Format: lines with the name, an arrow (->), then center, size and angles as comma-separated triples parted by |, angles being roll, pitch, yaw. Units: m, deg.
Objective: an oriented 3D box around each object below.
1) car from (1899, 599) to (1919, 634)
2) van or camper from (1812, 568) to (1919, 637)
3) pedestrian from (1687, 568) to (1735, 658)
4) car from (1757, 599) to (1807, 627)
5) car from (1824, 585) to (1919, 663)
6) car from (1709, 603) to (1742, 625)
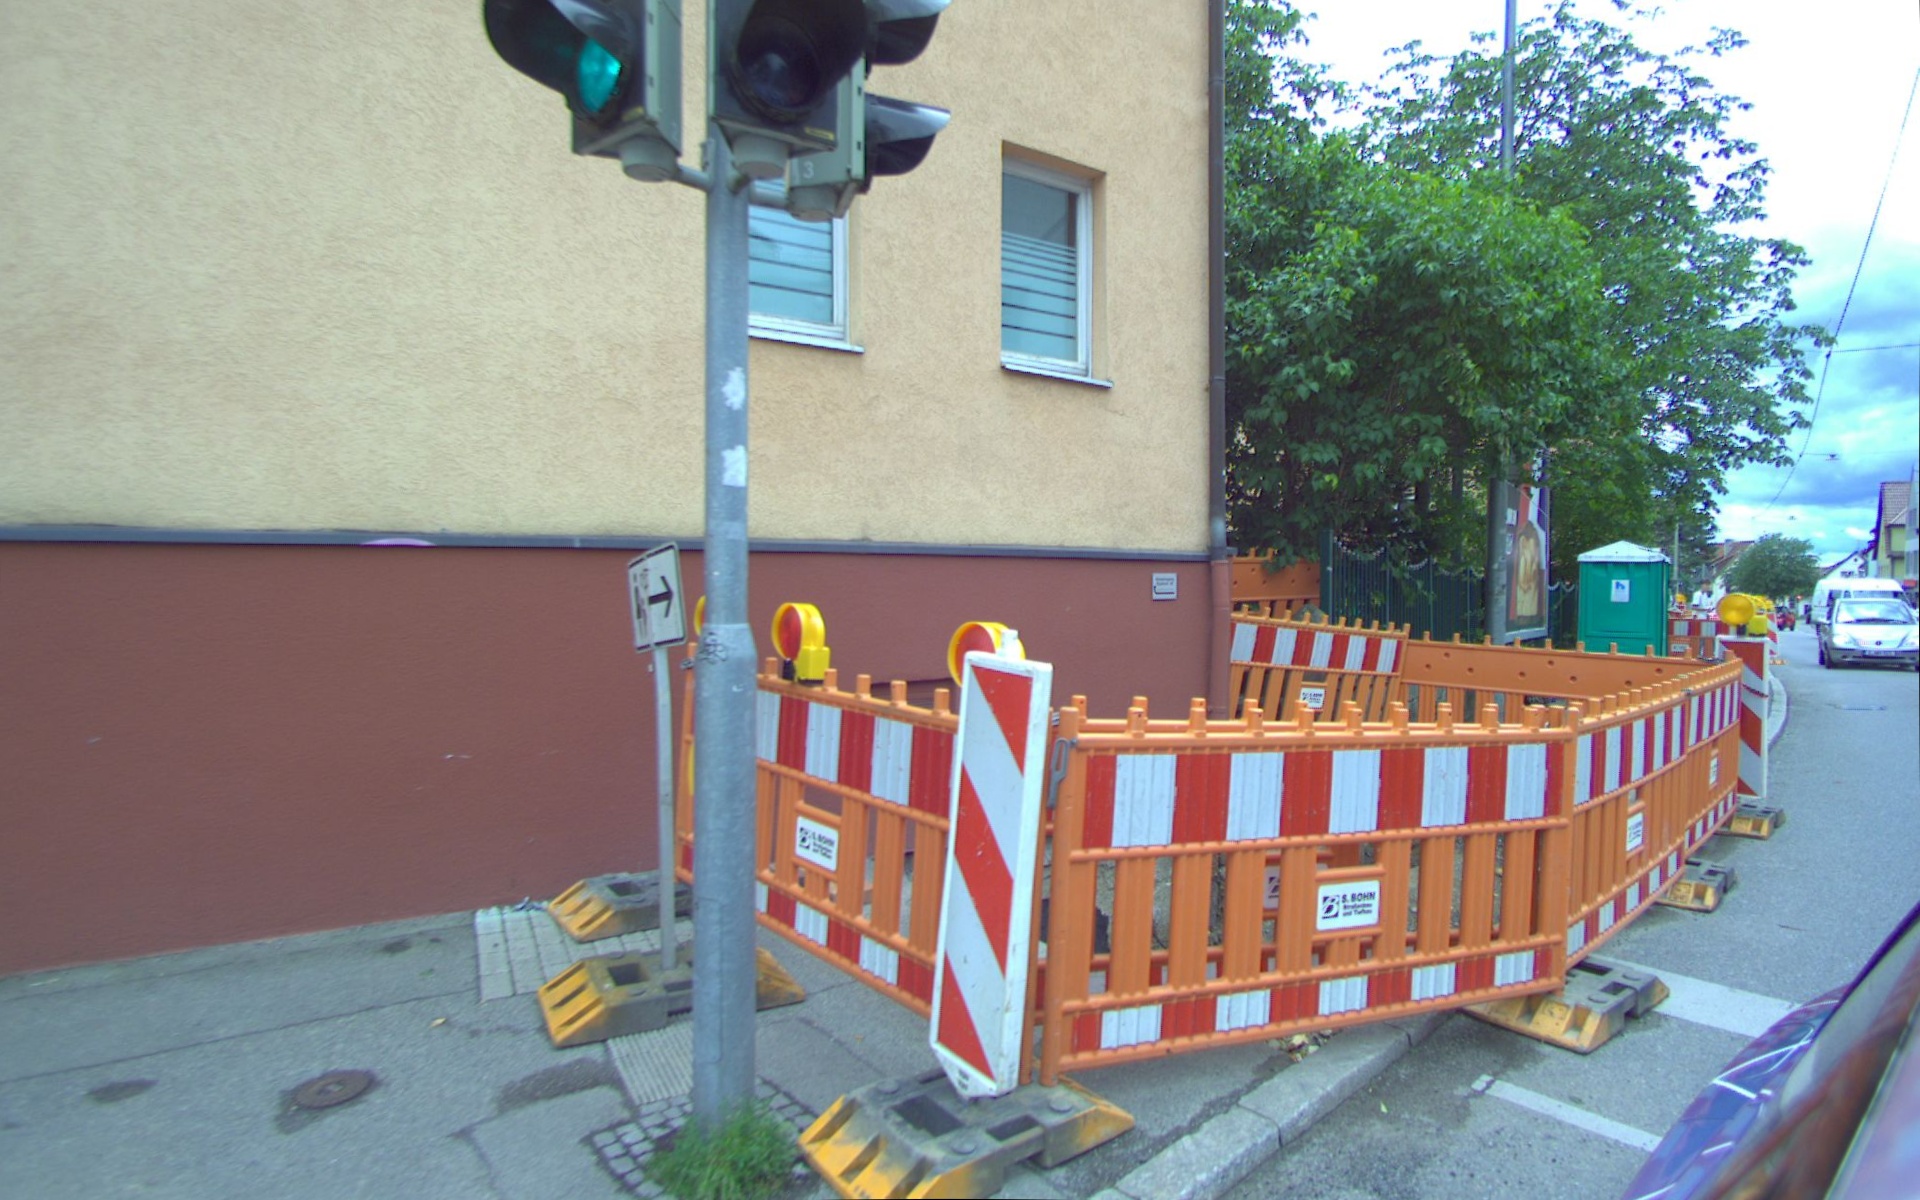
car -> 41.317, 0.729, 42.733 | 1.791, 1.429, 3.951 | 2, 1, 34
van or camper -> 38.199, 0.098, 42.085 | 2.299, 2.640, 6.163 | 2, 1, 22
pedestrian -> 17.077, 0.285, 23.030 | 0.796, 1.974, 0.826 | 2, 1, 35
car -> 49.216, 0.779, 60.578 | 2.887, 1.539, 1.818 | 1, 1, -40
car -> 21.009, 0.512, 23.000 | 1.850, 1.576, 4.292 | 3, 1, 38
car -> 55.221, 0.972, 72.975 | 1.712, 1.499, 3.942 | 2, 1, 40
